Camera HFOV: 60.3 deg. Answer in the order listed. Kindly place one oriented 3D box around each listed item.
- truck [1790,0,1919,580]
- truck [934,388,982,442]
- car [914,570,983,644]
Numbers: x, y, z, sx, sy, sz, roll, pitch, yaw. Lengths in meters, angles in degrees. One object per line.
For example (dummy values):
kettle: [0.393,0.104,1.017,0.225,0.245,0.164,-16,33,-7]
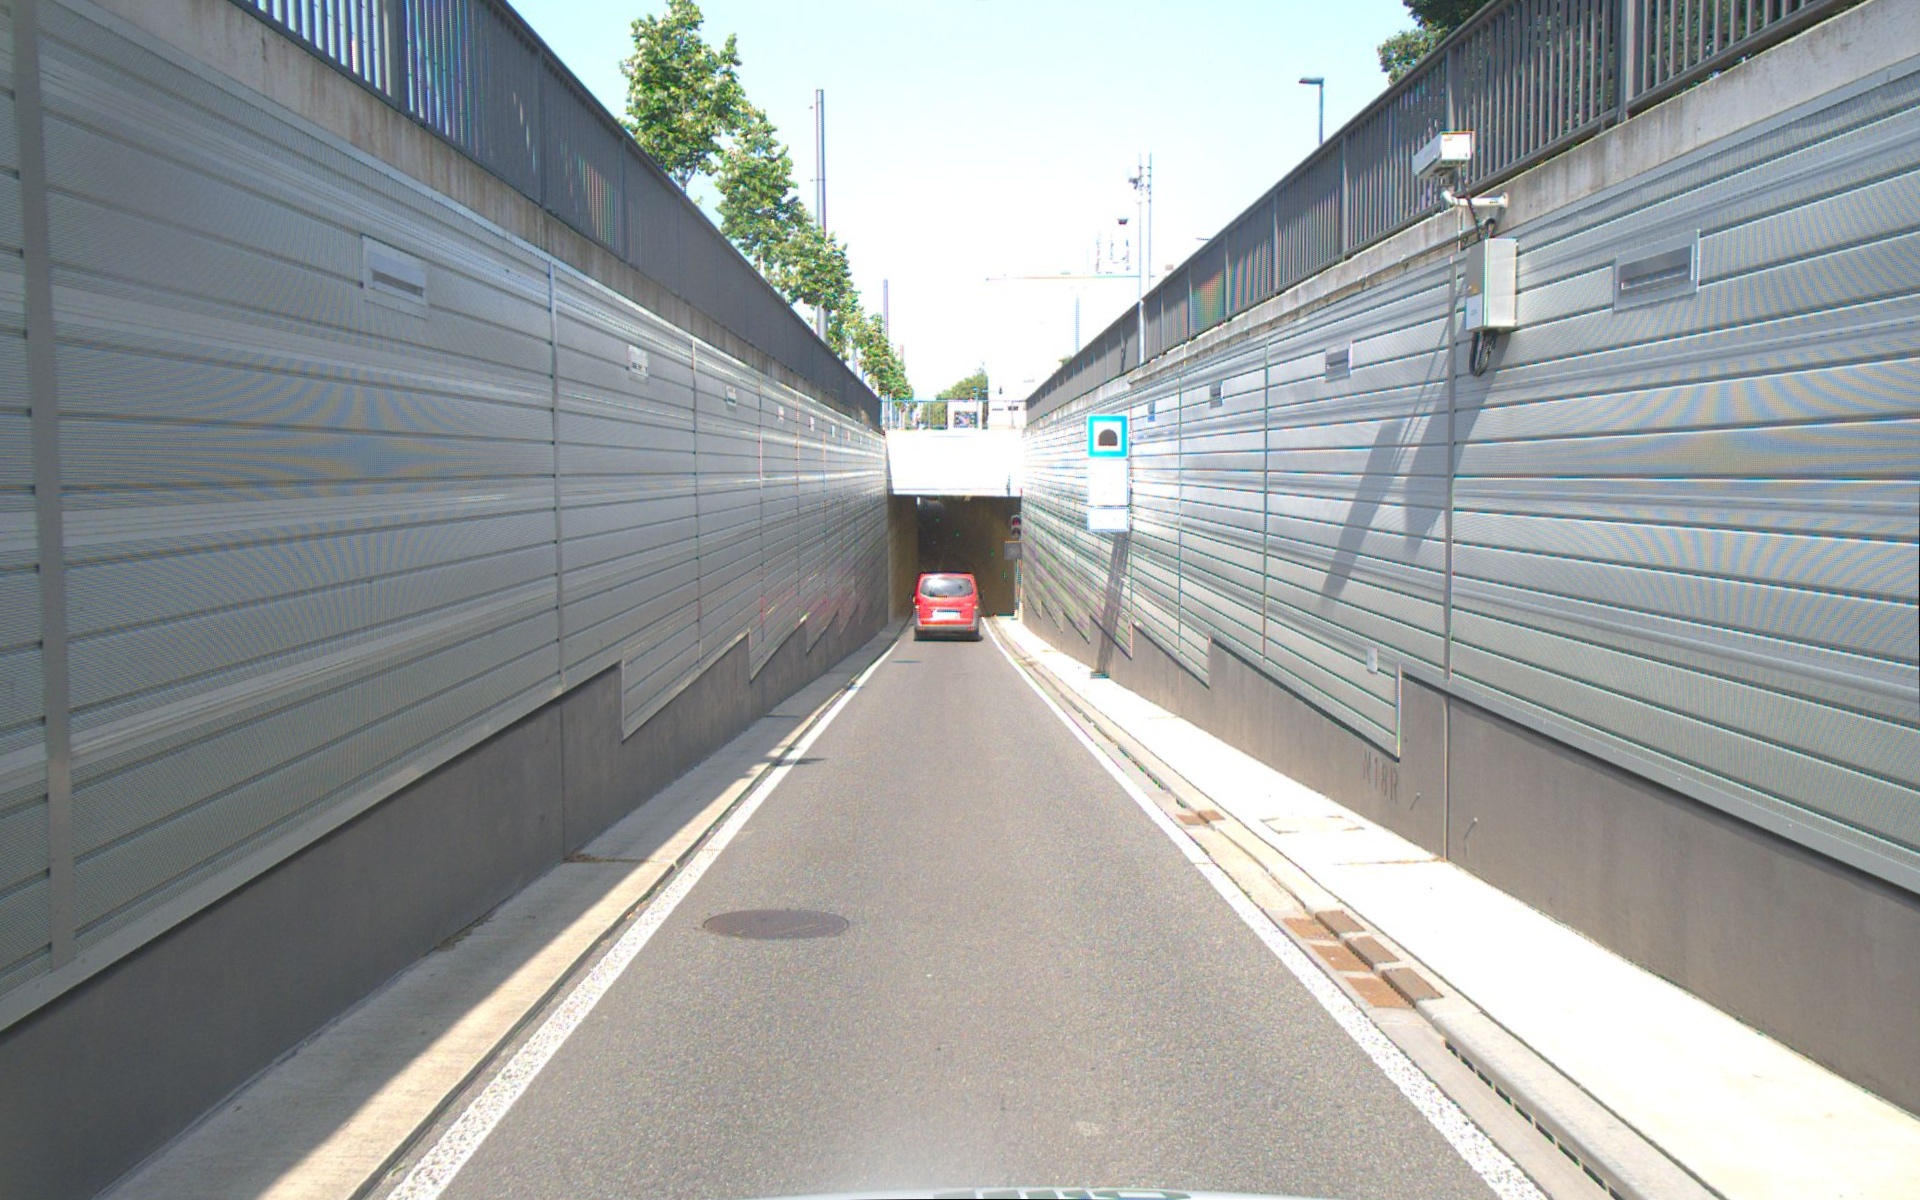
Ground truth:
truck: [5.179,-1.631,3.875,2.451,3.114,7.819,-1,1,-1]
truck: [-0.208,-14.196,127.694,3.323,3.789,10.453,-1,4,-2]
car: [-0.341,0.151,47.295,1.862,1.891,4.000,1,3,-1]
